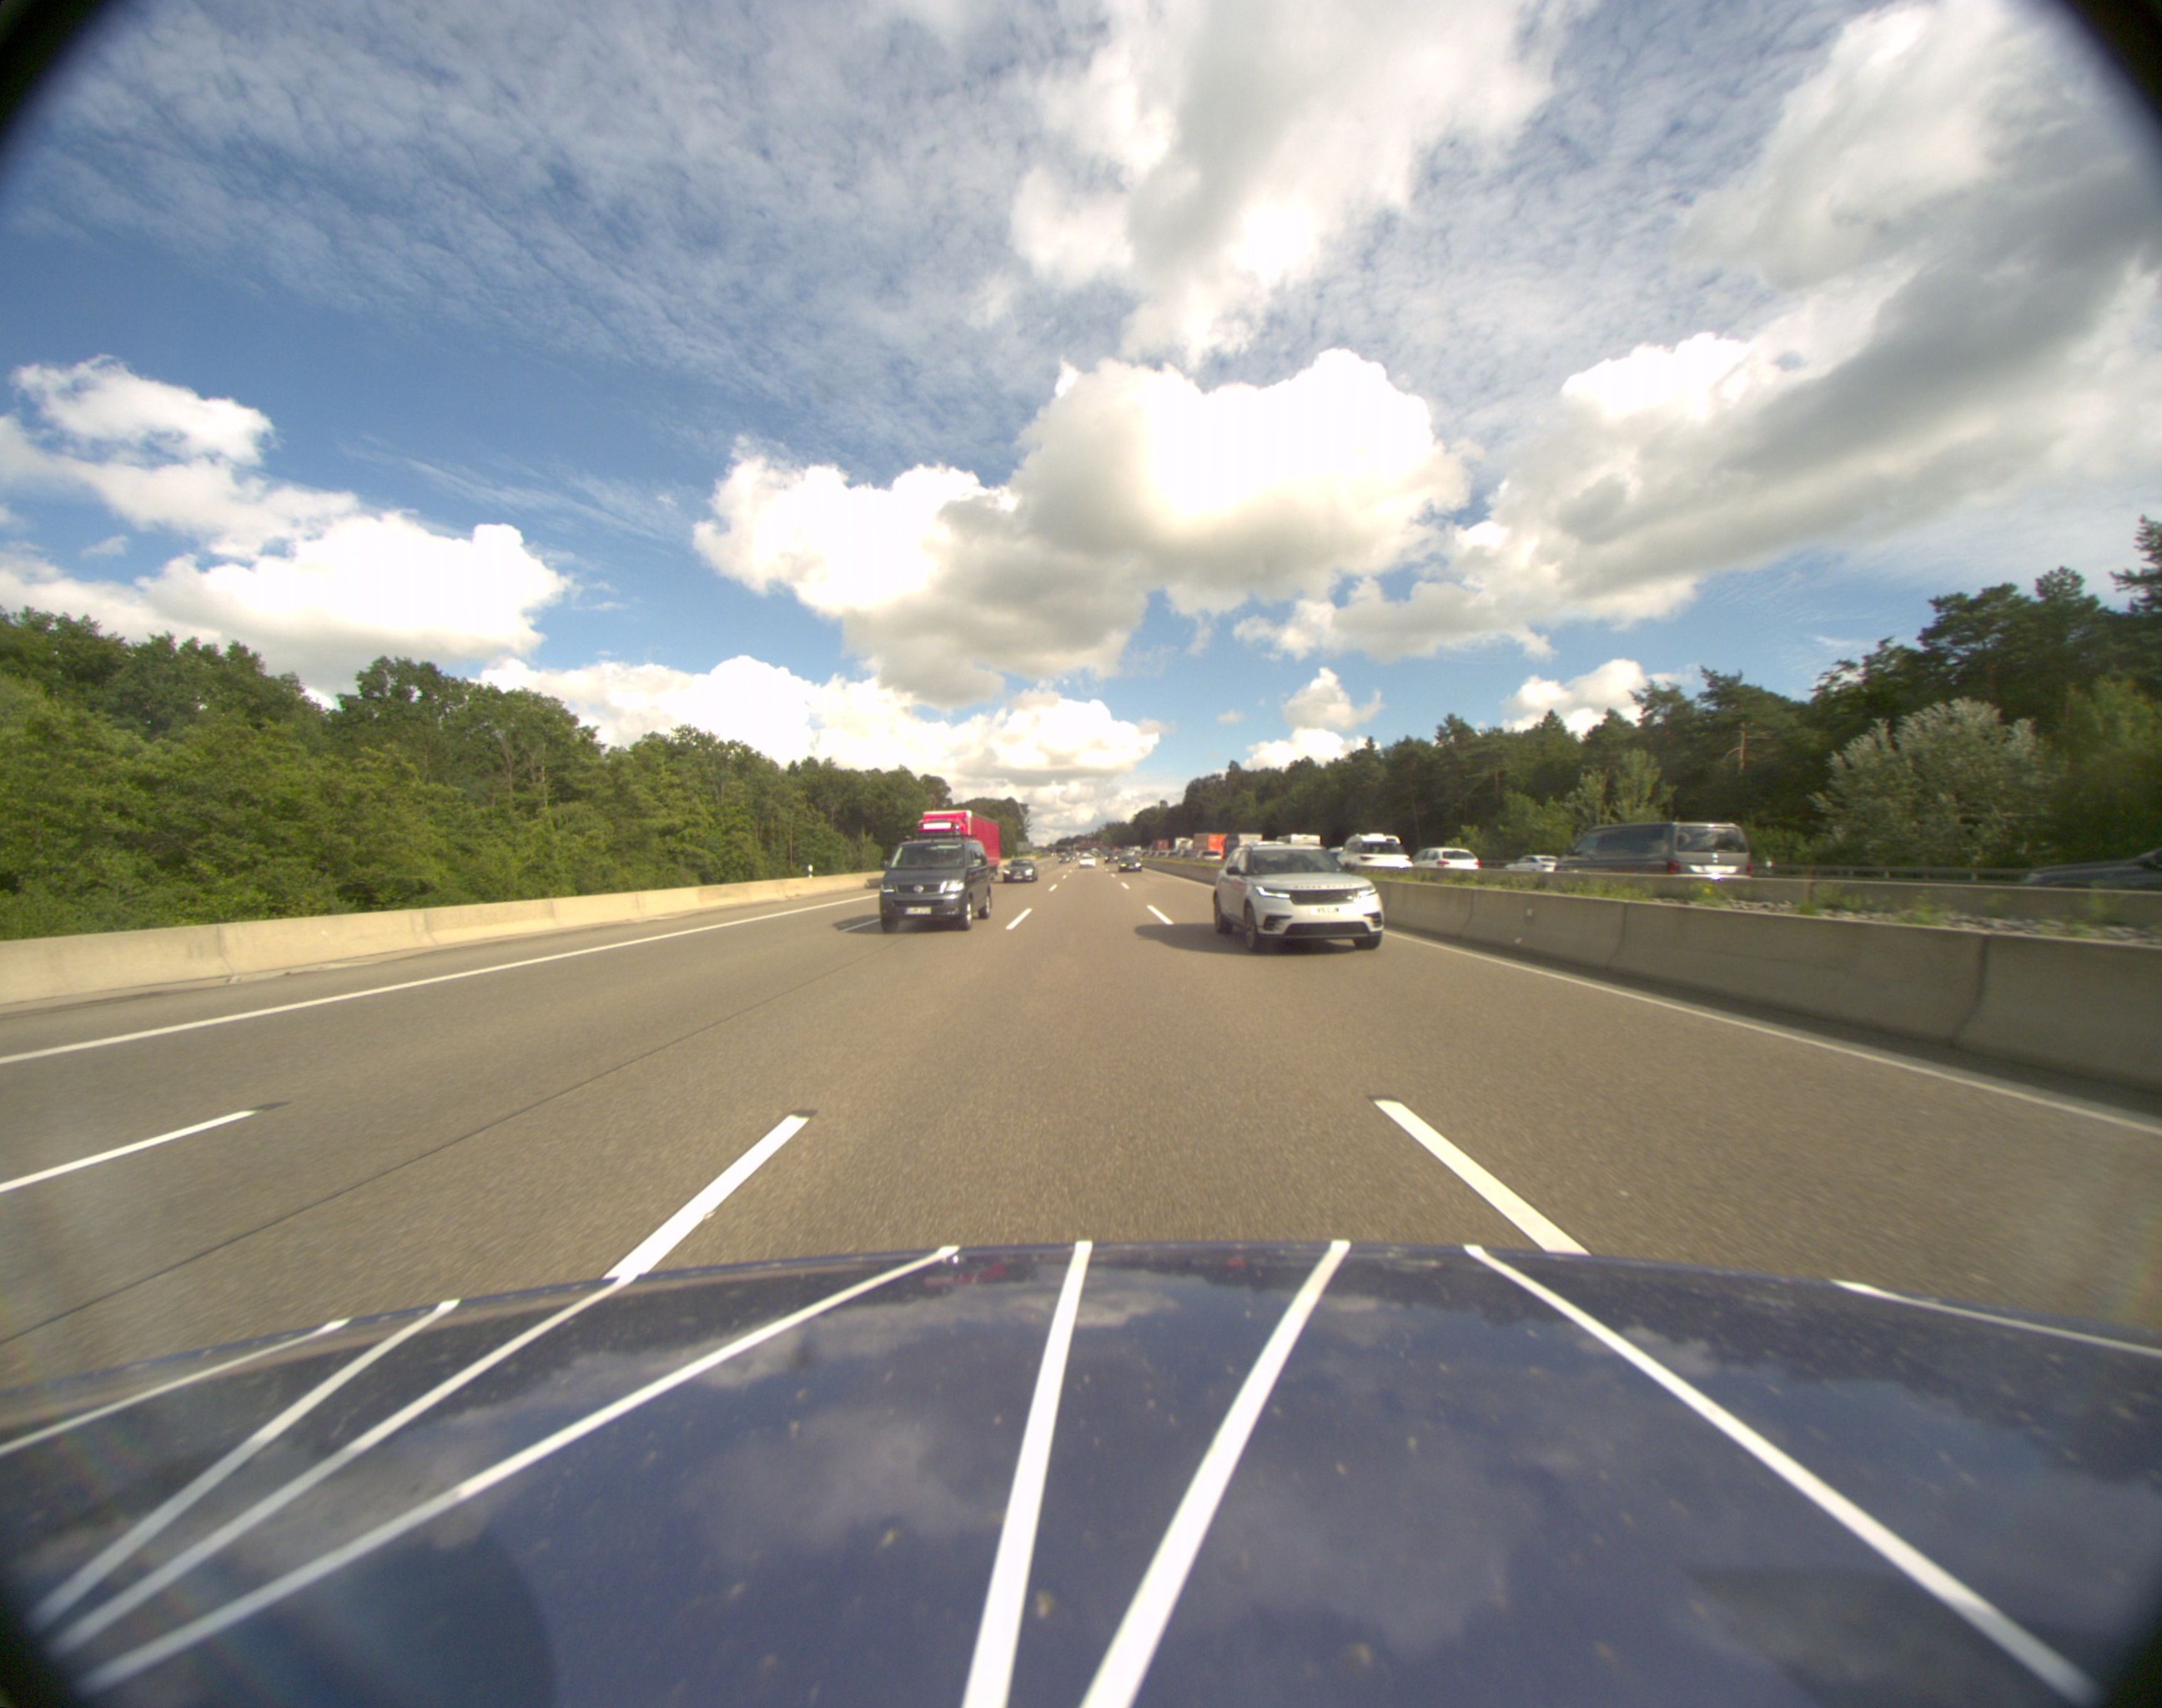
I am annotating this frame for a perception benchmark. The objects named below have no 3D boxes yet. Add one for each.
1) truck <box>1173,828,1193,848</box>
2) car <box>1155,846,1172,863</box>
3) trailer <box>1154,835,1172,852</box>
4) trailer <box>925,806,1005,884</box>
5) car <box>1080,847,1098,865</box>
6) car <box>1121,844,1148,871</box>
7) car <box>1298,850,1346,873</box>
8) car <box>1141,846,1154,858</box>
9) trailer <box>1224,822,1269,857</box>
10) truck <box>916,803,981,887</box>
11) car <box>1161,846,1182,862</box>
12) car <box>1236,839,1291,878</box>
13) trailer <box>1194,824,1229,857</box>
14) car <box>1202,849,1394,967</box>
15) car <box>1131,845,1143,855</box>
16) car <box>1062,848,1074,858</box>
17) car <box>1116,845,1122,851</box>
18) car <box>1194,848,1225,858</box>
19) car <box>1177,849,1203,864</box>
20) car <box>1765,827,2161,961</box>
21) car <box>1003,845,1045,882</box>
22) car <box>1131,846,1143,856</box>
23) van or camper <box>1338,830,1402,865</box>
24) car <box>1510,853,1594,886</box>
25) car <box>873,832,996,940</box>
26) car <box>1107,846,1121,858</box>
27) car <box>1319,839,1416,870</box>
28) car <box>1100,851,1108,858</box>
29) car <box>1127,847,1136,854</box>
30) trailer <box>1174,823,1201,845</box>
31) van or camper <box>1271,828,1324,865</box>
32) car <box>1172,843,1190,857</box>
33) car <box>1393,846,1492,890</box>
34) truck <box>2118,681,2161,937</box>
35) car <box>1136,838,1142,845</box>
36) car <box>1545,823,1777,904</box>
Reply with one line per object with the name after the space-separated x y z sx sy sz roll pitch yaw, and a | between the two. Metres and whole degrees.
18.880 -2.935 141.205 2.964 3.725 5.108 -2 1 0 | truck
10.737 0.055 99.589 1.747 2.002 4.682 -2 1 1 | car
19.528 -2.555 182.045 2.957 3.961 12.889 -2 1 1 | trailer
-6.946 -0.552 47.925 2.531 4.096 14.375 -2 1 1 | trailer
0.937 0.218 86.725 1.998 2.002 4.000 -2 0 2 | car
4.428 0.254 63.316 1.919 2.002 4.000 -4 1 2 | car
13.968 0.399 44.200 1.667 1.249 3.590 -2 0 0 | car
11.239 -0.378 128.719 1.821 1.871 4.902 -1 1 0 | car
18.639 -1.622 86.260 2.895 3.637 10.218 -1 1 1 | trailer
-7.020 -0.490 40.966 2.532 4.178 4.653 -2 1 0 | truck
10.528 -0.018 88.631 1.821 1.754 4.629 -2 1 0 | car
10.254 0.237 43.136 1.837 2.050 5.500 0 0 0 | car
18.771 -1.932 109.948 2.646 4.295 13.175 -3 1 1 | trailer
3.433 0.748 13.157 1.904 1.597 5.105 -2 0 1 | car
10.450 -0.801 142.870 1.821 1.735 4.902 -2 1 0 | car
-2.176 -0.144 127.031 1.911 1.582 4.286 -2 1 -2 | car
12.412 -2.088 248.001 1.998 1.838 3.999 -2 1 0 | car
10.018 -0.068 59.434 1.651 0.720 4.447 -2 0 0 | car
10.738 0.204 75.313 1.837 1.379 4.902 -2 1 0 | car
13.708 0.478 11.885 1.804 1.622 4.662 -3 0 1 | car
-3.395 0.543 45.951 1.998 2.002 4.000 -3 1 2 | car
10.530 -0.582 142.914 1.821 1.871 4.902 -2 1 0 | car
18.045 -0.383 47.684 2.289 2.000 4.688 -2 0 2 | van or camper
25.753 0.793 41.745 1.837 1.646 4.481 -2 1 0 | car
-3.232 0.650 17.845 1.927 2.153 4.960 -1 0 0 | car
4.843 -0.313 112.011 1.911 1.582 4.287 -2 1 0 | car
9.791 0.002 26.321 1.647 0.934 4.488 -2 0 0 | car
6.094 0.127 202.129 1.804 1.783 3.758 -1 0 1 | car
11.262 -0.757 169.756 1.515 1.552 3.999 -2 1 -1 | car
18.762 -3.506 134.651 2.957 3.478 12.229 -2 1 1 | trailer
18.372 -0.752 64.998 2.476 2.873 7.479 -2 2 1 | van or camper
14.871 -0.586 113.556 1.998 1.949 4.989 -2 1 0 | car
14.061 0.506 29.819 1.837 1.528 4.242 -2 0 0 | car
18.038 -0.719 8.553 3.425 3.877 6.801 -2 0 0 | truck
19.363 -4.204 253.725 1.998 2.002 3.999 -2 1 0 | car
13.881 0.188 18.661 2.013 1.645 4.782 -2 0 0 | car
